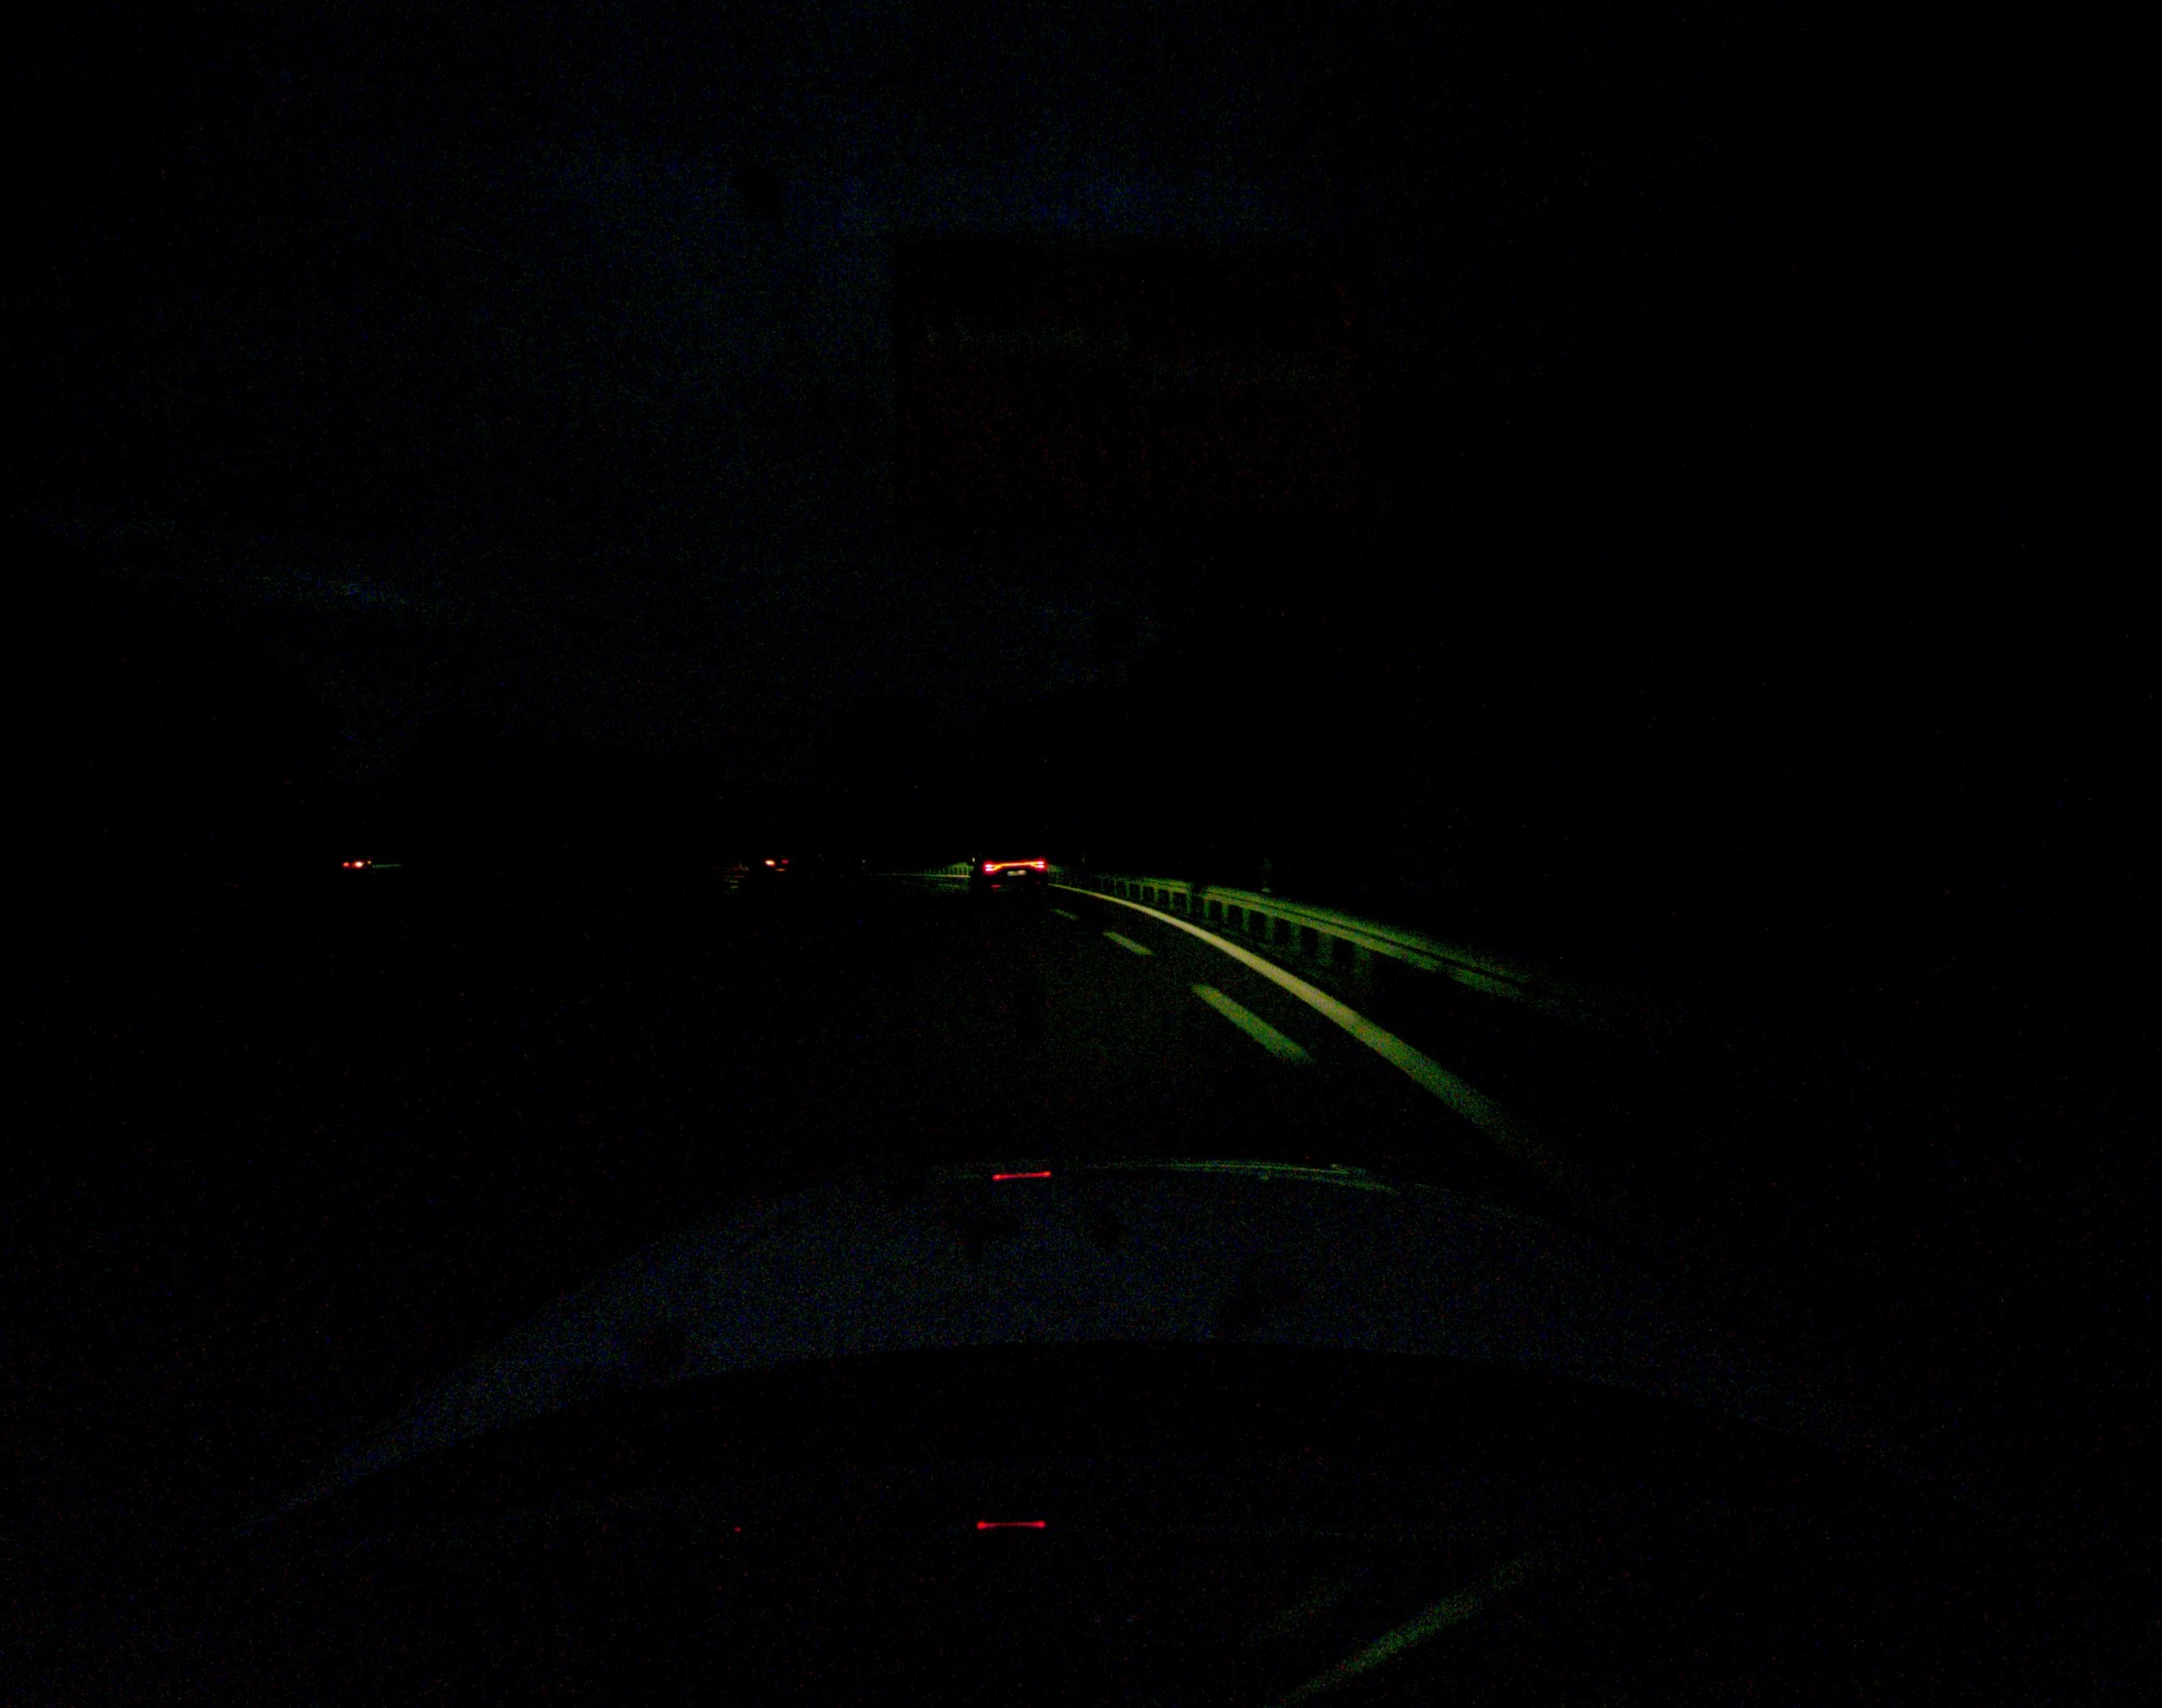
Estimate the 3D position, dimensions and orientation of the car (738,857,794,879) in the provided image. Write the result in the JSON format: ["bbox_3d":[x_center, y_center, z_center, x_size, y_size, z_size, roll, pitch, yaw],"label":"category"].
[{"bbox_3d":[-23.441,1.014,60.524,3.948,1.598,2.013,0,0,35],"label":"car"}]

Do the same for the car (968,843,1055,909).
[{"bbox_3d":[-2.135,0.571,23.751,1.995,1.659,4.298,-3,1,-11],"label":"car"}]
